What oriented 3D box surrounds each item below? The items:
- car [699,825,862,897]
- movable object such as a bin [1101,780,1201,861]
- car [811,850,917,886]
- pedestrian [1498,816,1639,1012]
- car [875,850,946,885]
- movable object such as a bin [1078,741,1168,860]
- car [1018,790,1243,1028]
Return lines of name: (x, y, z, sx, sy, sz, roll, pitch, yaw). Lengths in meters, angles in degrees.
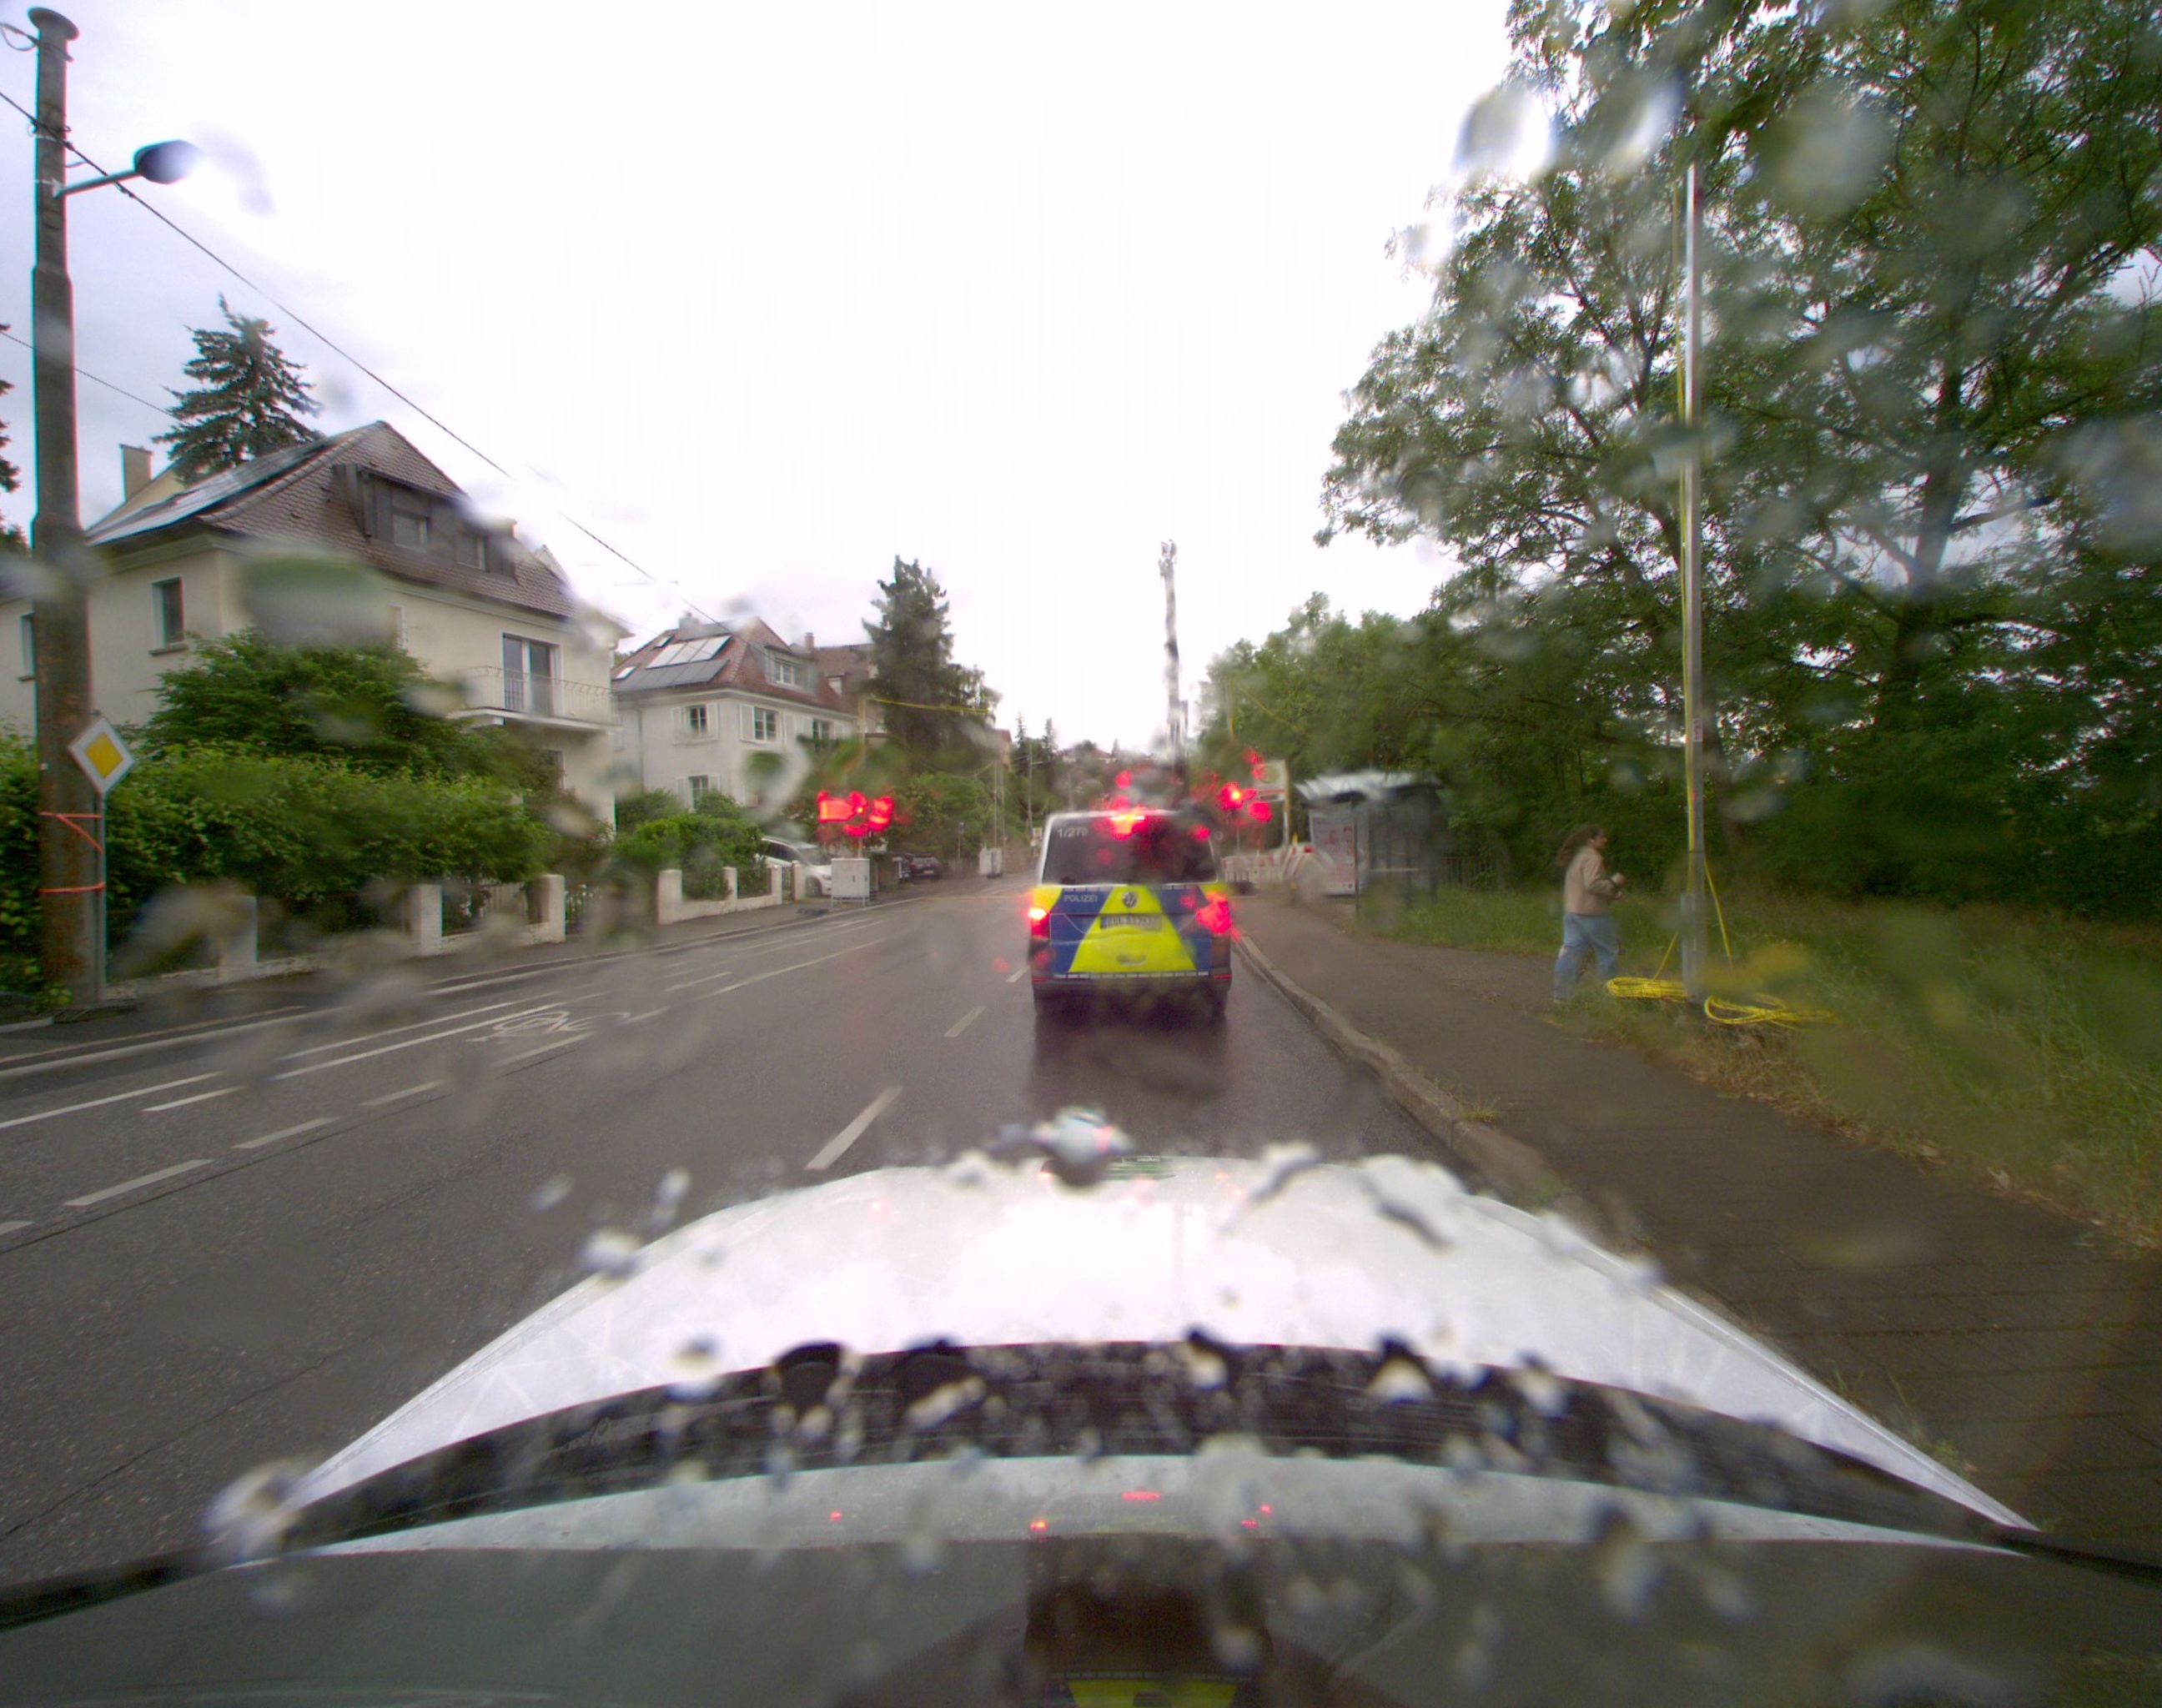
car: (-10.268, 0.185, 27.880, 4.927, 1.616, 1.872, 9, 4, 15)
movable object such as a bin: (4.919, -2.156, 55.931, 3.646, 5.066, 7.209, -3, -1, 34)
car: (-9.354, 0.603, 35.254, 3.958, 1.525, 1.948, -1, -1, 15)
pedestrian: (4.210, 0.492, 7.083, 0.749, 1.604, 0.731, 0, -1, -6)
car: (-8.072, 0.610, 38.290, 1.795, 1.525, 3.955, 0, 0, -37)
movable object such as a bin: (1.747, -1.973, 31.768, 2.862, 4.170, 4.499, -2, 1, 9)
car: (0.490, 0.486, 9.159, 1.901, 2.010, 4.441, 0, -1, 2)
